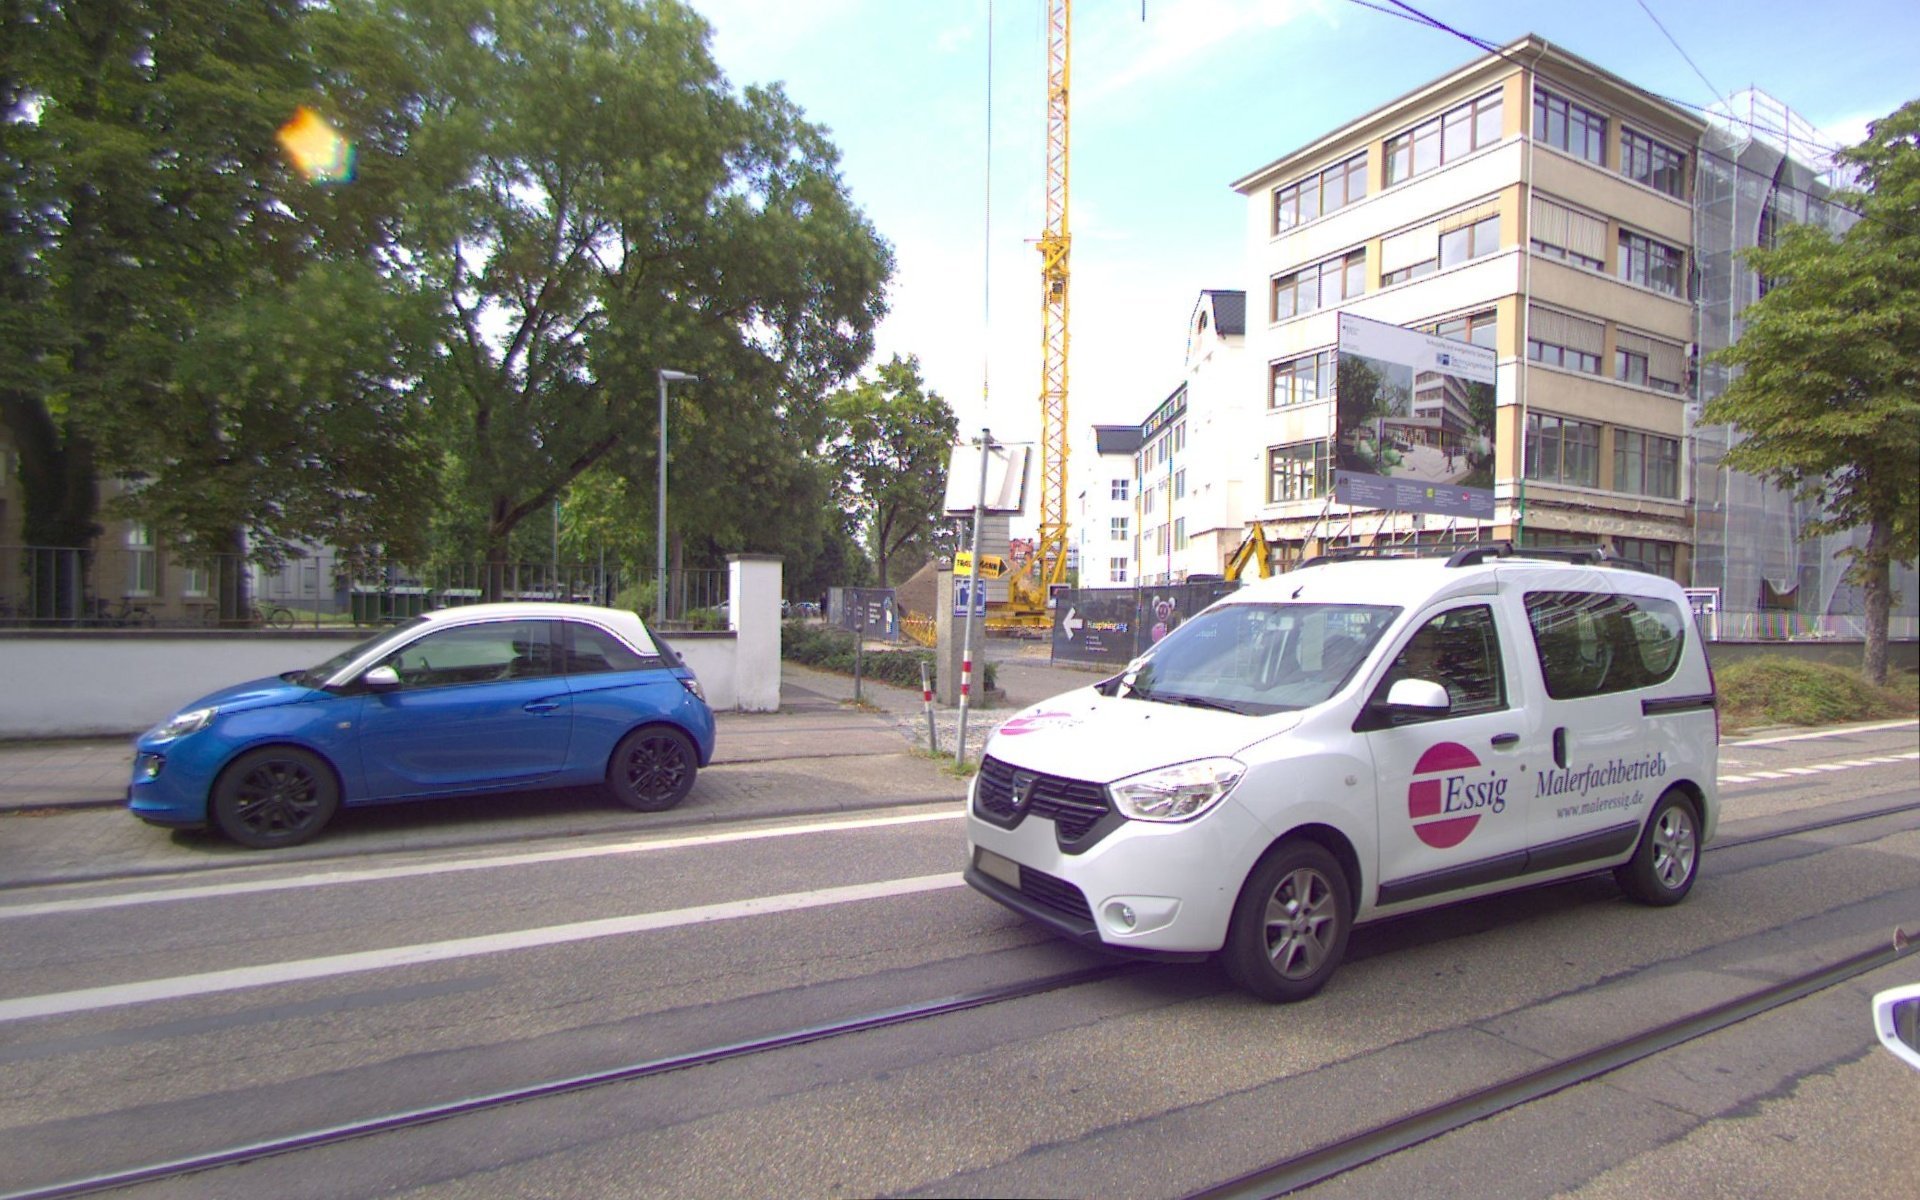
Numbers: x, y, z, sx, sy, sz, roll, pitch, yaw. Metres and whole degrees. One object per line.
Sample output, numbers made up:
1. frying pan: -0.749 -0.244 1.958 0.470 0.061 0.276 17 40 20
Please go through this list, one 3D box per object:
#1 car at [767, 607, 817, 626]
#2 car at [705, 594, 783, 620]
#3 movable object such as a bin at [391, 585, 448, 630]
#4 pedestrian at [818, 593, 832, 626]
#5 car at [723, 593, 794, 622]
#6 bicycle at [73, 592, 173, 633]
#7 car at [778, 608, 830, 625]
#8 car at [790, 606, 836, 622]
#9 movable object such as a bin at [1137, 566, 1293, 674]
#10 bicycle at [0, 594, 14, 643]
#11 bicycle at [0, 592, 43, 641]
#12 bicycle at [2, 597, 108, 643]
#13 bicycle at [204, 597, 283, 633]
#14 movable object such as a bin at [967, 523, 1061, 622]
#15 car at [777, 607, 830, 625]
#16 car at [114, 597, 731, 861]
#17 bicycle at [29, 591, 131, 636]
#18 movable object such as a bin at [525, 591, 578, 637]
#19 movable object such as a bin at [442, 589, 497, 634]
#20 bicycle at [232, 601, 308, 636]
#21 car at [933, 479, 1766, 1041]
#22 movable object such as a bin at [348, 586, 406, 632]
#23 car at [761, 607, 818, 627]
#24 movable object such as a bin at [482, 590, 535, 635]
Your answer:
1. car: -14.780 1.478 88.654 4.268 1.564 1.751 2 0 -8
2. car: -13.831 0.457 64.599 4.719 1.508 1.998 2 0 -8
3. movable object such as a bin: -18.022 0.247 33.507 1.259 1.449 1.122 2 0 -2
4. pedestrian: -7.639 0.526 57.044 0.736 1.813 0.730 2 0 -7
5. car: -15.180 0.576 75.890 4.965 1.979 1.999 2 0 -4
6. bicycle: -22.358 0.330 26.862 1.953 1.057 0.590 1 1 -28
7. car: -14.691 1.553 94.801 4.719 1.508 1.998 2 0 -8
8. car: -15.497 1.481 105.874 4.719 1.508 1.998 2 0 -8
9. movable object such as a bin: 6.271 0.487 24.984 2.459 2.475 3.048 2 0 -19
10. bicycle: -21.846 0.384 21.818 1.940 1.057 0.594 1 1 -4
11. bicycle: -21.929 0.354 22.598 1.940 1.057 0.594 1 1 -4
12. bicycle: -21.871 0.478 24.300 1.940 1.057 0.594 1 1 -4
13. bicycle: -22.091 0.469 30.998 1.940 1.057 0.594 1 1 -4
14. movable object such as a bin: 4.255 -1.861 75.033 3.781 6.758 10.988 2 0 20
15. car: -14.307 1.485 91.975 4.719 1.508 1.998 2 0 -8
16. car: -3.652 0.762 7.303 3.560 1.484 1.620 1 0 -30
17. bicycle: -21.956 0.331 25.080 1.940 1.057 0.594 1 1 -4
18. movable object such as a bin: -13.593 0.462 33.468 1.259 1.449 1.122 2 0 -2
19. movable object such as a bin: -16.449 0.387 33.706 1.259 1.449 1.122 2 0 -2
20. bicycle: -22.211 0.583 32.354 1.940 1.057 0.594 1 1 -4
21. car: 2.171 0.575 5.248 4.326 1.909 1.724 1 0 -30
22. movable object such as a bin: -19.385 0.296 33.444 1.259 1.449 1.122 2 0 -2
23. car: -14.535 1.448 85.990 4.719 1.508 1.998 2 0 -8
24. movable object such as a bin: -15.110 0.427 33.633 1.259 1.449 1.122 2 0 -2
